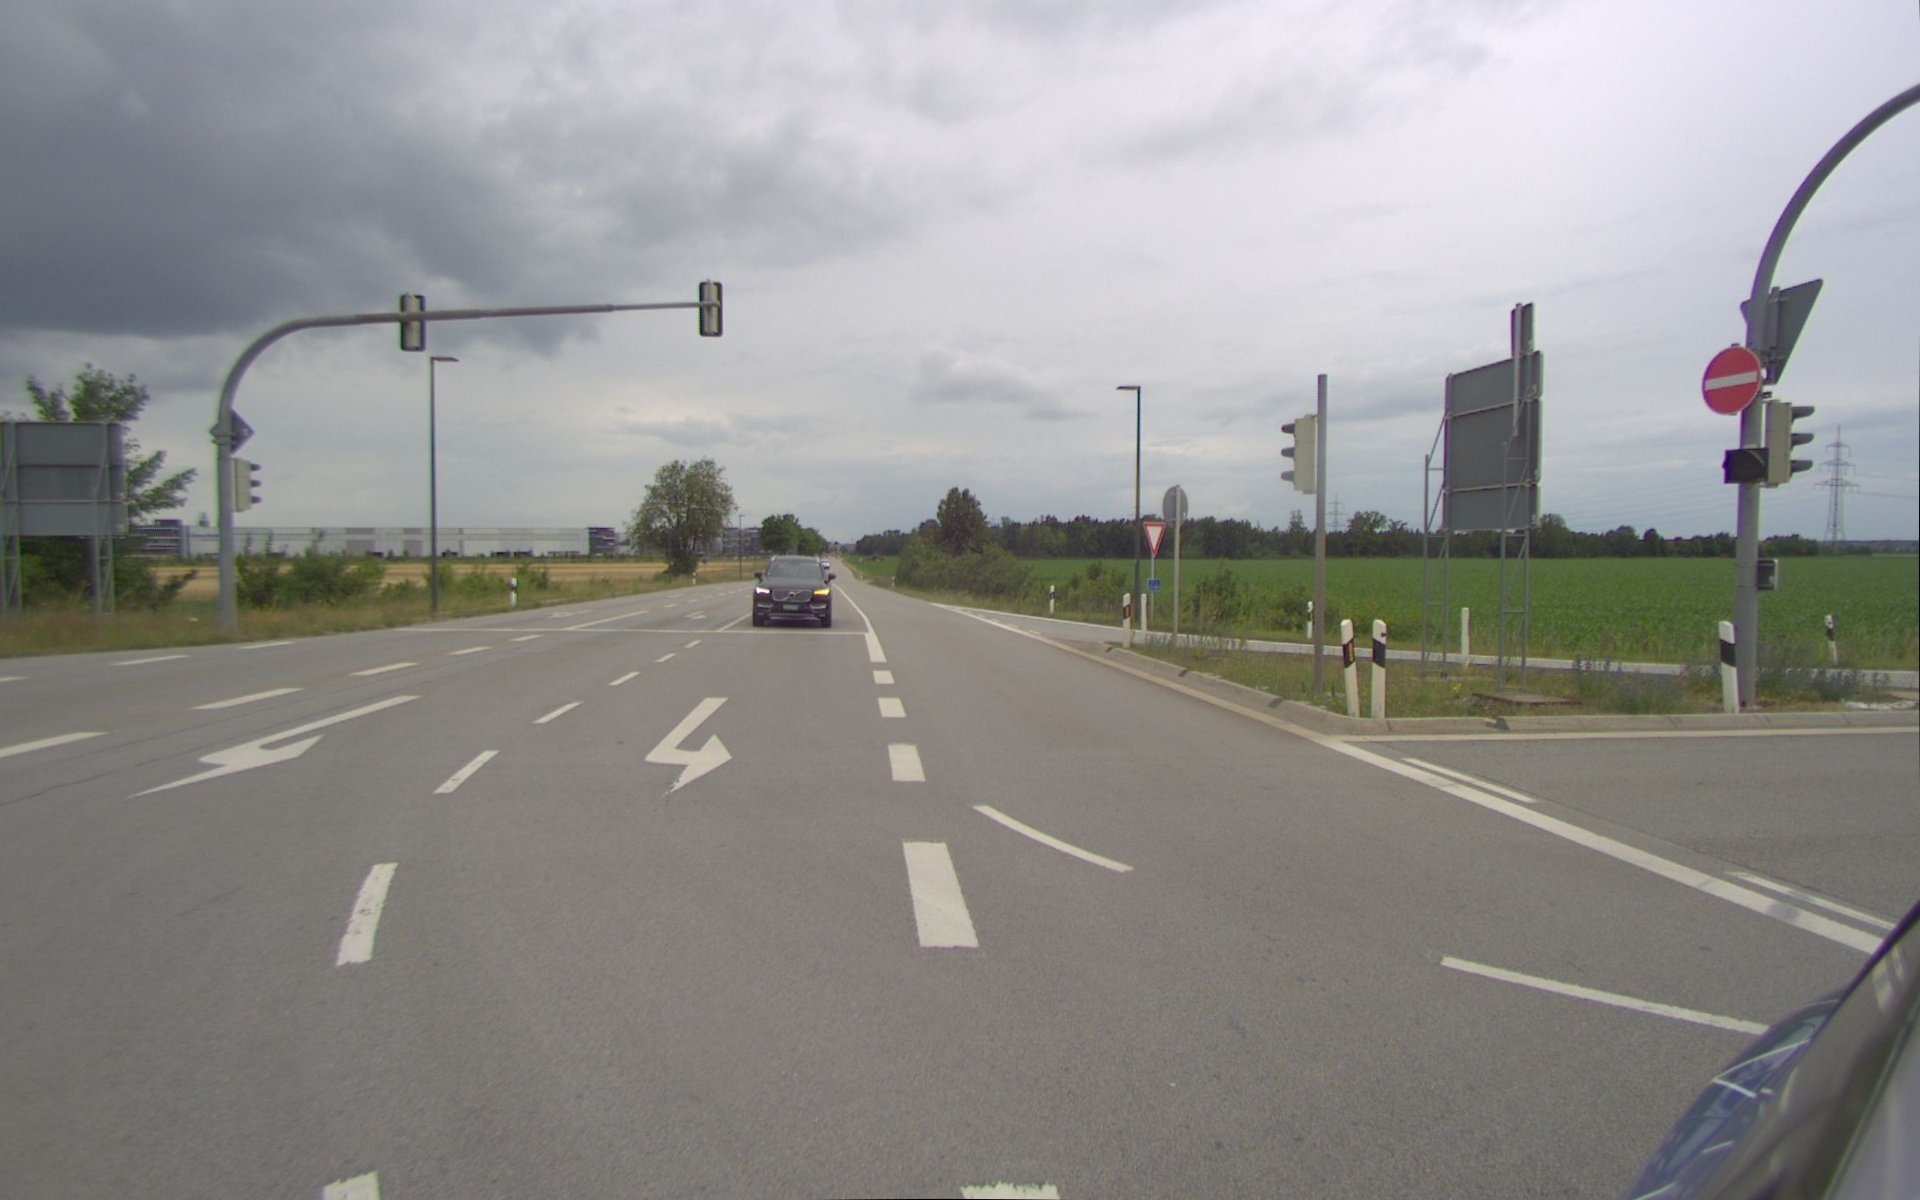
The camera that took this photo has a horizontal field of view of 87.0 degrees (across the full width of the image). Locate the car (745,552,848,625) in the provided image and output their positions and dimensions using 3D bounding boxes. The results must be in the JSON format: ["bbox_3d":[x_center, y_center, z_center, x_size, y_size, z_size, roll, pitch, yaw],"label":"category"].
[{"bbox_3d":[-4.077,-0.361,25.995,1.961,1.704,5.002,0,2,-1],"label":"car"}]
